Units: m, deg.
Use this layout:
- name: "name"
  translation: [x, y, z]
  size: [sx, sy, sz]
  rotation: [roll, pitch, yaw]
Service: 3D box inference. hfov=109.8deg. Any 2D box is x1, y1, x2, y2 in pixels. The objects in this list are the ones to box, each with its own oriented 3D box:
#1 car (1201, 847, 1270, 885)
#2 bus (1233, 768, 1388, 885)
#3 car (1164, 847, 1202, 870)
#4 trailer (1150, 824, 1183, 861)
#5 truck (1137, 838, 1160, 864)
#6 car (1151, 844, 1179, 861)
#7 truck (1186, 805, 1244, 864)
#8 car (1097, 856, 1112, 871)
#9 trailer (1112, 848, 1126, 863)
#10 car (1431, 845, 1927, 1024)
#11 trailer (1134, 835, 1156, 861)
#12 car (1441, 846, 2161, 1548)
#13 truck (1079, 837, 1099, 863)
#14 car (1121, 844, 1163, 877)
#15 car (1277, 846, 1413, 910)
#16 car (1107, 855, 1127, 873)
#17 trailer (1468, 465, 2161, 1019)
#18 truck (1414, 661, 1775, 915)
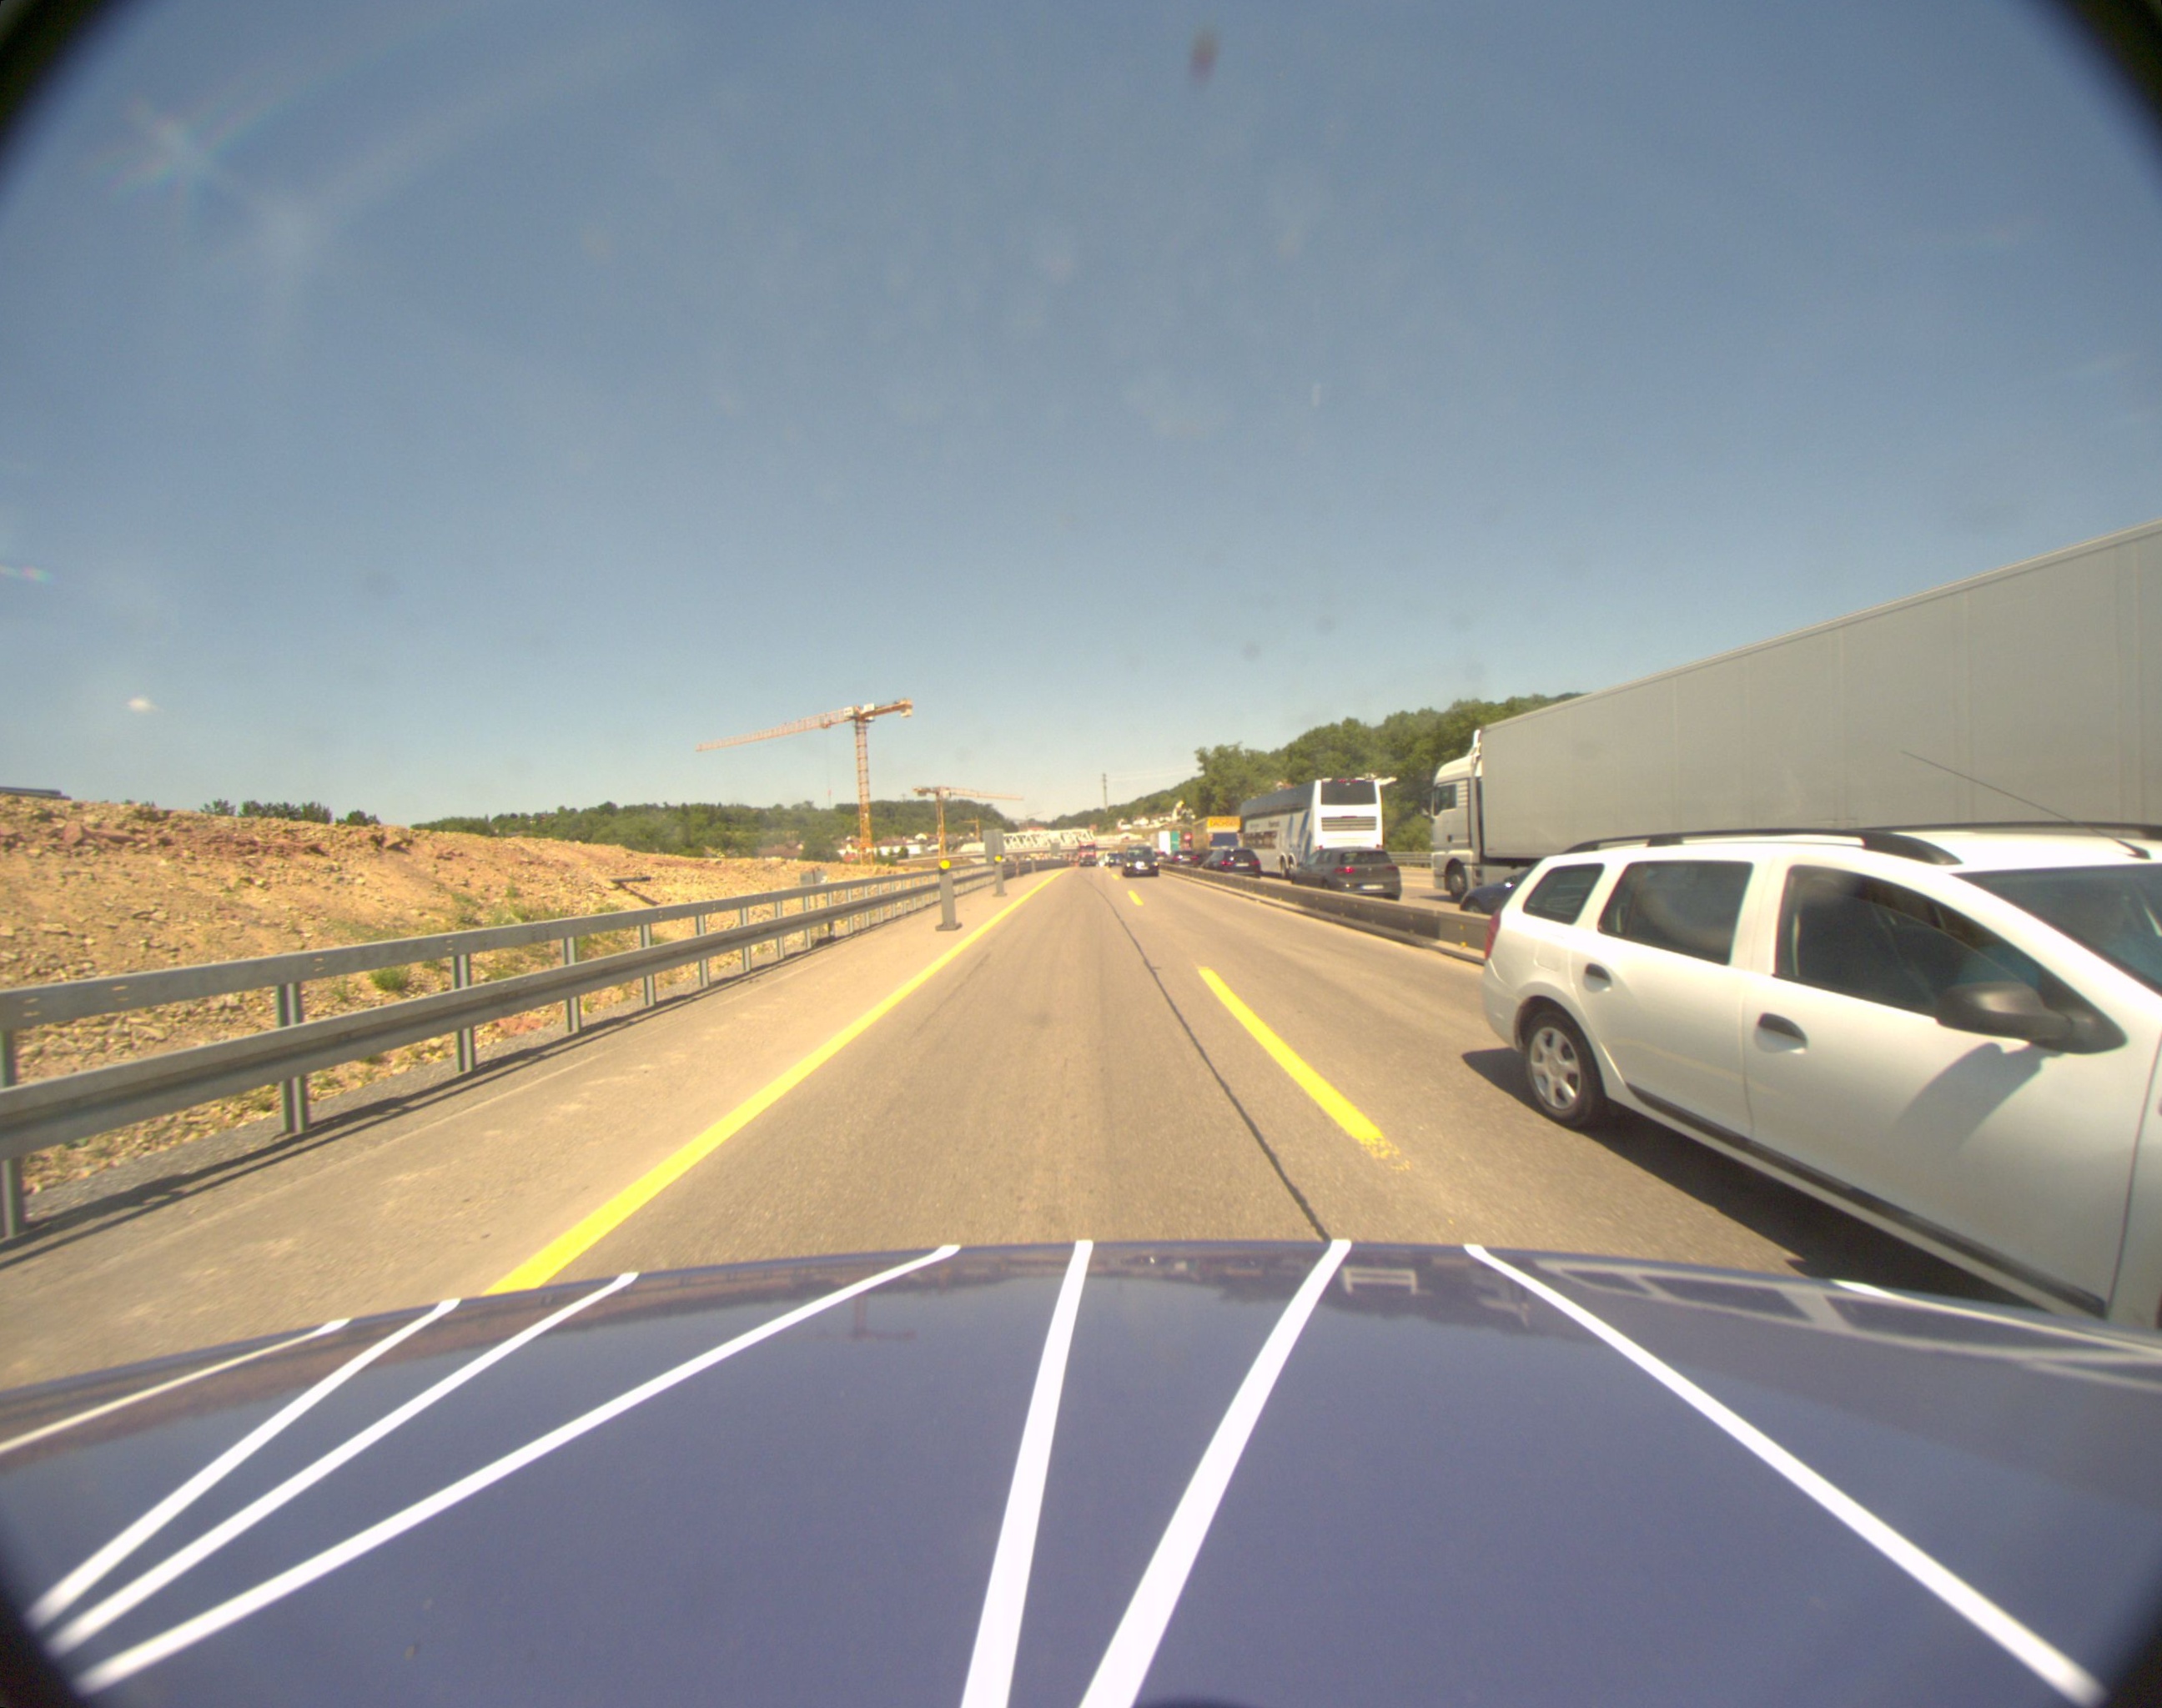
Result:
- name: "car"
  translation: [6.618, 0.482, 33.071]
  size: [1.923, 1.414, 5.091]
  rotation: [-3, 0, 0]
- name: "bus"
  translation: [9.913, -1.075, 35.300]
  size: [2.746, 4.239, 14.474]
  rotation: [-2, 1, 0]
- name: "car"
  translation: [6.793, 0.269, 51.149]
  size: [1.843, 1.435, 4.929]
  rotation: [-2, 1, 0]
- name: "trailer"
  translation: [10.806, -1.348, 97.183]
  size: [2.822, 4.404, 13.168]
  rotation: [-1, 0, 1]
- name: "truck"
  translation: [10.773, -0.457, 121.556]
  size: [2.911, 3.742, 8.369]
  rotation: [-3, -1, 1]
- name: "car"
  translation: [7.506, -0.099, 68.240]
  size: [1.864, 1.485, 4.904]
  rotation: [0, 0, -1]
- name: "truck"
  translation: [10.197, -1.401, 58.874]
  size: [2.809, 4.128, 10.078]
  rotation: [-1, 1, 1]
- name: "car"
  translation: [3.150, 1.233, 102.451]
  size: [1.791, 1.870, 4.001]
  rotation: [-4, -1, 1]
- name: "trailer"
  translation: [11.229, 0.430, 226.470]
  size: [2.814, 4.151, 11.798]
  rotation: [-2, -1, -2]
- name: "car"
  translation: [6.303, 0.740, 9.069]
  size: [1.817, 1.429, 5.122]
  rotation: [-3, -1, 0]
- name: "trailer"
  translation: [11.736, -1.040, 141.170]
  size: [3.109, 4.438, 13.022]
  rotation: [-1, -1, 1]
- name: "car"
  translation: [3.310, 0.764, 2.638]
  size: [1.823, 1.521, 4.705]
  rotation: [-2, 1, -1]
- name: "truck"
  translation: [1.225, -0.637, 115.121]
  size: [2.702, 3.704, 8.509]
  rotation: [-2, 0, 2]
- name: "car"
  translation: [3.321, 0.341, 42.213]
  size: [1.862, 1.683, 4.097]
  rotation: [-2, 1, -1]
- name: "car"
  translation: [6.691, 0.538, 19.838]
  size: [1.837, 1.415, 4.682]
  rotation: [-2, 0, -1]
- name: "car"
  translation: [3.495, 1.017, 74.331]
  size: [1.791, 1.578, 4.001]
  rotation: [-4, -1, 1]
- name: "trailer"
  translation: [10.118, -0.916, 9.672]
  size: [3.148, 4.358, 14.077]
  rotation: [-2, 0, 0]
- name: "truck"
  translation: [10.157, -1.083, 16.219]
  size: [3.105, 4.173, 6.702]
  rotation: [-2, 0, 1]
